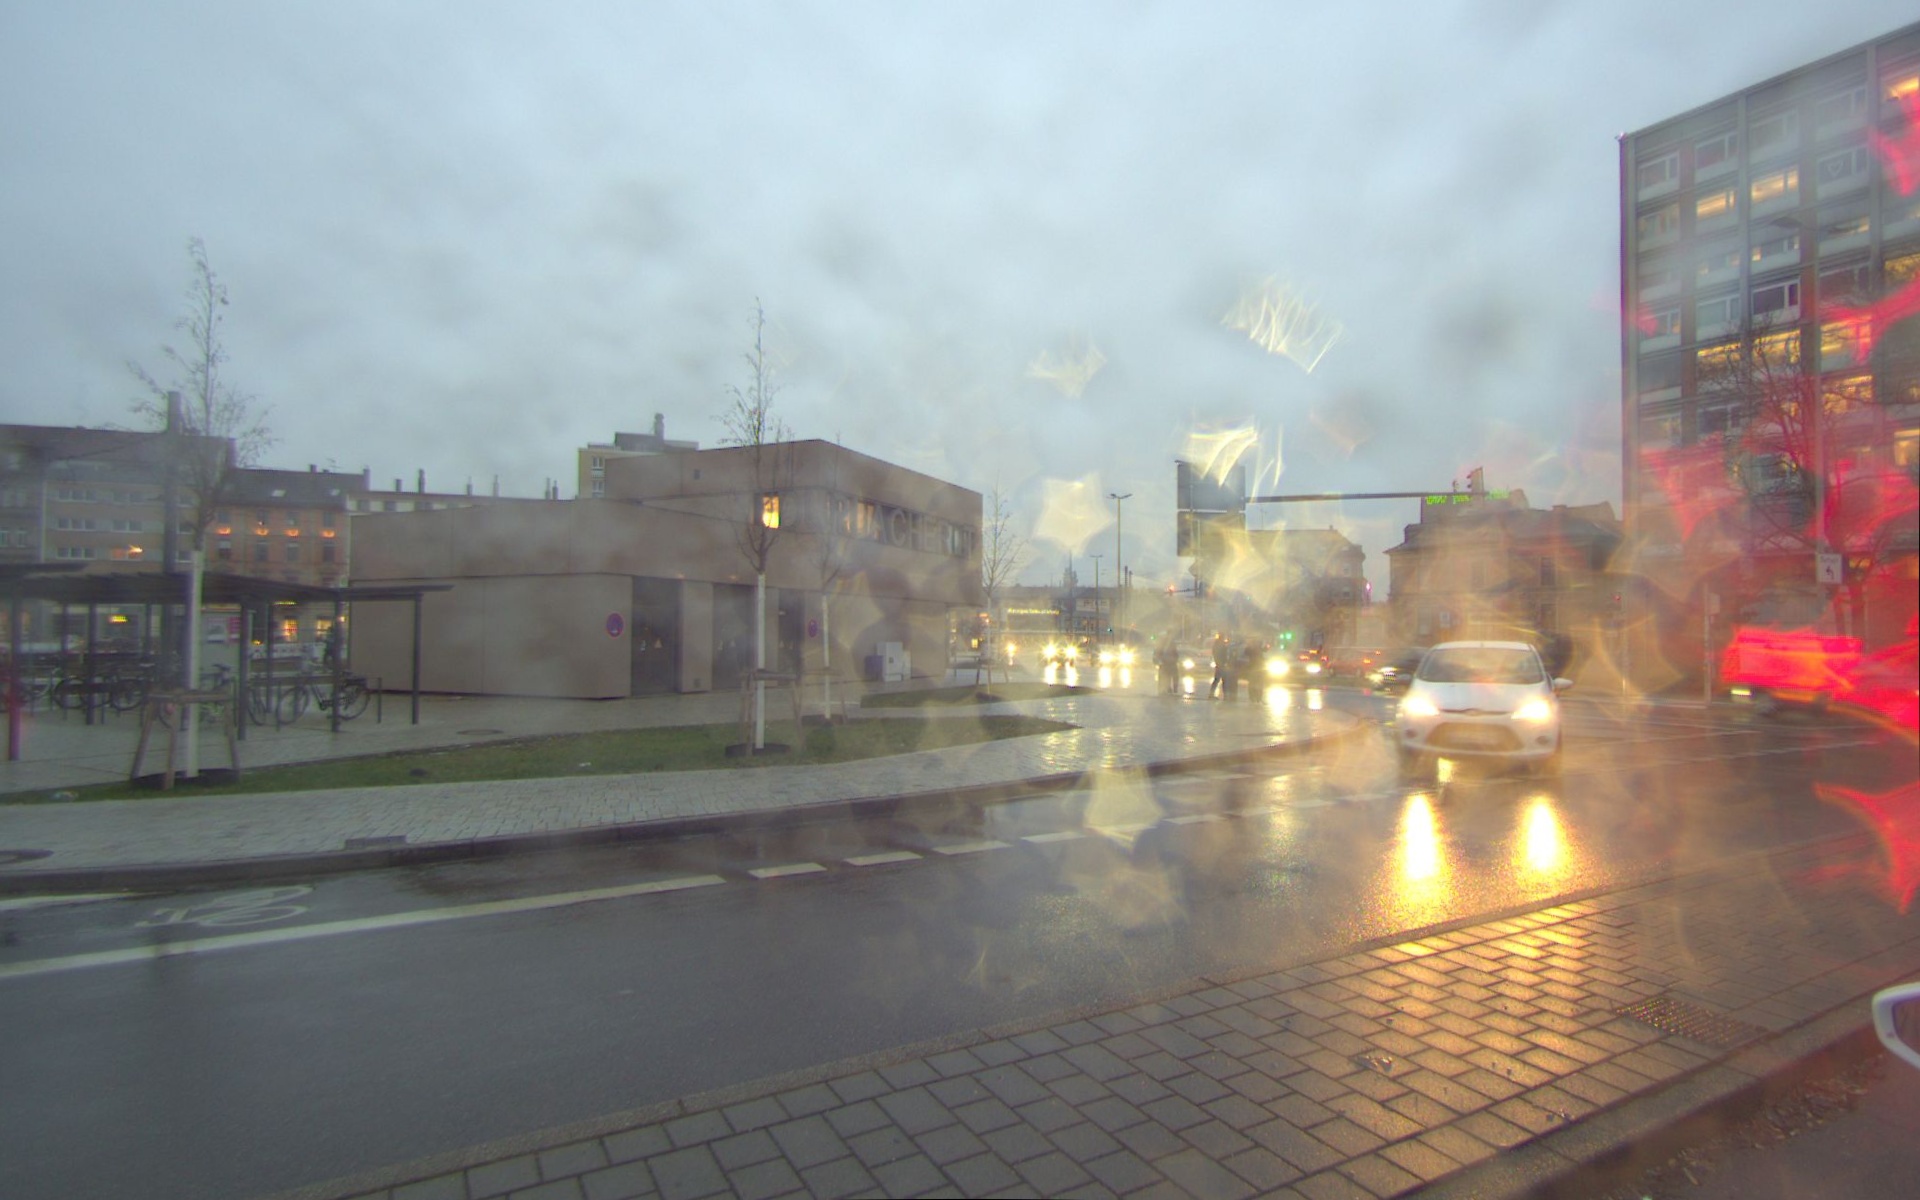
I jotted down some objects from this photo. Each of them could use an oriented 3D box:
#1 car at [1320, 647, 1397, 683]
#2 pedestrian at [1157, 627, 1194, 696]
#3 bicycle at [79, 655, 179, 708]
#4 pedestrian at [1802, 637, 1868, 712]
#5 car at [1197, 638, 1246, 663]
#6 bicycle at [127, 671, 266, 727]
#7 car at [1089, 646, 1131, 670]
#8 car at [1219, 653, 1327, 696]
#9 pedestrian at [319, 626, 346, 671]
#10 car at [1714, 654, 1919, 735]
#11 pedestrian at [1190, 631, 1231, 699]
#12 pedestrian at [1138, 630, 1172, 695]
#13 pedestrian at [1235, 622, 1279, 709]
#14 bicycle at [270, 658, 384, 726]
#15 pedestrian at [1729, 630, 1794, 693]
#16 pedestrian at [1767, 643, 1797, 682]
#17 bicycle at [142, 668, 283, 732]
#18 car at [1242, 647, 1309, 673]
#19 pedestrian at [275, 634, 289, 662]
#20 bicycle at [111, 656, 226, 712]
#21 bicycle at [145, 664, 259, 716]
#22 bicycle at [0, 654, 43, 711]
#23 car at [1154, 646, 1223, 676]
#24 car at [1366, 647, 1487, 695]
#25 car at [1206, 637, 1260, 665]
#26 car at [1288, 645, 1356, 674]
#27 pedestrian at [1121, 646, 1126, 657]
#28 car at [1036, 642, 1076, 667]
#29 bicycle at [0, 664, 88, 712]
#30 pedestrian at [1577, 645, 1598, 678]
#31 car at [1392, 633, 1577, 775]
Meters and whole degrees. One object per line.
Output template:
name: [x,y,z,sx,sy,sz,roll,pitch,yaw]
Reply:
car: [20.492,3.316,51.817,1.795,1.589,3.991,2,0,-11]
pedestrian: [5.922,1.686,27.655,0.671,1.863,0.726,1,-3,-42]
bicycle: [-17.690,1.715,21.431,0.511,1.050,1.574,1,-2,19]
pedestrian: [24.223,2.044,27.821,0.942,2.004,0.929,0,-2,-9]
car: [19.386,3.729,74.498,3.321,1.724,1.526,2,0,8]
bicycle: [-13.589,1.742,17.950,0.466,0.903,1.923,1,-2,29]
car: [10.014,3.879,67.442,1.777,1.496,4.670,1,-3,-4]
car: [11.709,2.764,37.874,1.781,1.496,4.581,1,-3,-14]
pedestrian: [-23.540,1.821,37.687,0.518,1.688,0.701,-1,-2,20]
car: [18.707,1.916,21.014,1.781,1.496,4.579,1,-3,-15]
pedestrian: [6.625,1.711,26.574,0.838,1.778,0.659,0,-2,-14]
pedestrian: [5.462,1.745,28.174,0.544,1.793,0.734,1,-3,-43]
pedestrian: [7.214,1.583,24.377,0.971,2.047,0.802,-1,-2,19]
bicycle: [-11.753,1.680,18.718,0.605,1.172,1.755,1,-2,20]
pedestrian: [24.974,1.902,31.301,1.118,1.867,1.003,-2,-2,-8]
pedestrian: [35.122,2.664,42.916,0.548,1.649,0.760,0,-2,-15]
bicycle: [-12.938,1.708,17.458,0.466,0.989,1.923,1,-2,29]
car: [20.085,3.813,63.978,3.741,1.502,1.602,2,0,-1]
pedestrian: [-49.497,3.494,73.326,0.695,2.040,0.586,0,-2,-21]
bicycle: [-16.533,1.741,21.038,0.466,1.087,1.830,1,-2,26]
bicycle: [-15.183,1.783,20.173,0.466,0.968,1.767,1,-2,29]
bicycle: [-19.397,1.638,19.837,0.466,1.122,1.797,1,-2,29]
car: [11.980,3.183,53.035,1.779,1.496,4.662,1,-3,-12]
car: [15.443,2.316,33.482,1.778,1.496,3.963,1,-3,-9]
car: [19.616,3.662,72.353,3.514,1.850,1.672,2,0,8]
car: [20.898,3.414,58.077,3.364,1.481,1.515,2,0,-1]
pedestrian: [31.170,9.775,191.410,0.960,2.040,0.921,-1,-2,11]
car: [6.356,3.625,66.771,1.742,1.598,3.995,0,-2,-8]
bicycle: [-18.511,1.738,19.988,0.466,0.903,1.693,1,-2,24]
pedestrian: [33.390,3.265,53.444,0.626,1.710,0.640,0,-2,-13]
car: [6.491,1.226,12.481,1.714,1.467,3.709,-3,-5,28]
